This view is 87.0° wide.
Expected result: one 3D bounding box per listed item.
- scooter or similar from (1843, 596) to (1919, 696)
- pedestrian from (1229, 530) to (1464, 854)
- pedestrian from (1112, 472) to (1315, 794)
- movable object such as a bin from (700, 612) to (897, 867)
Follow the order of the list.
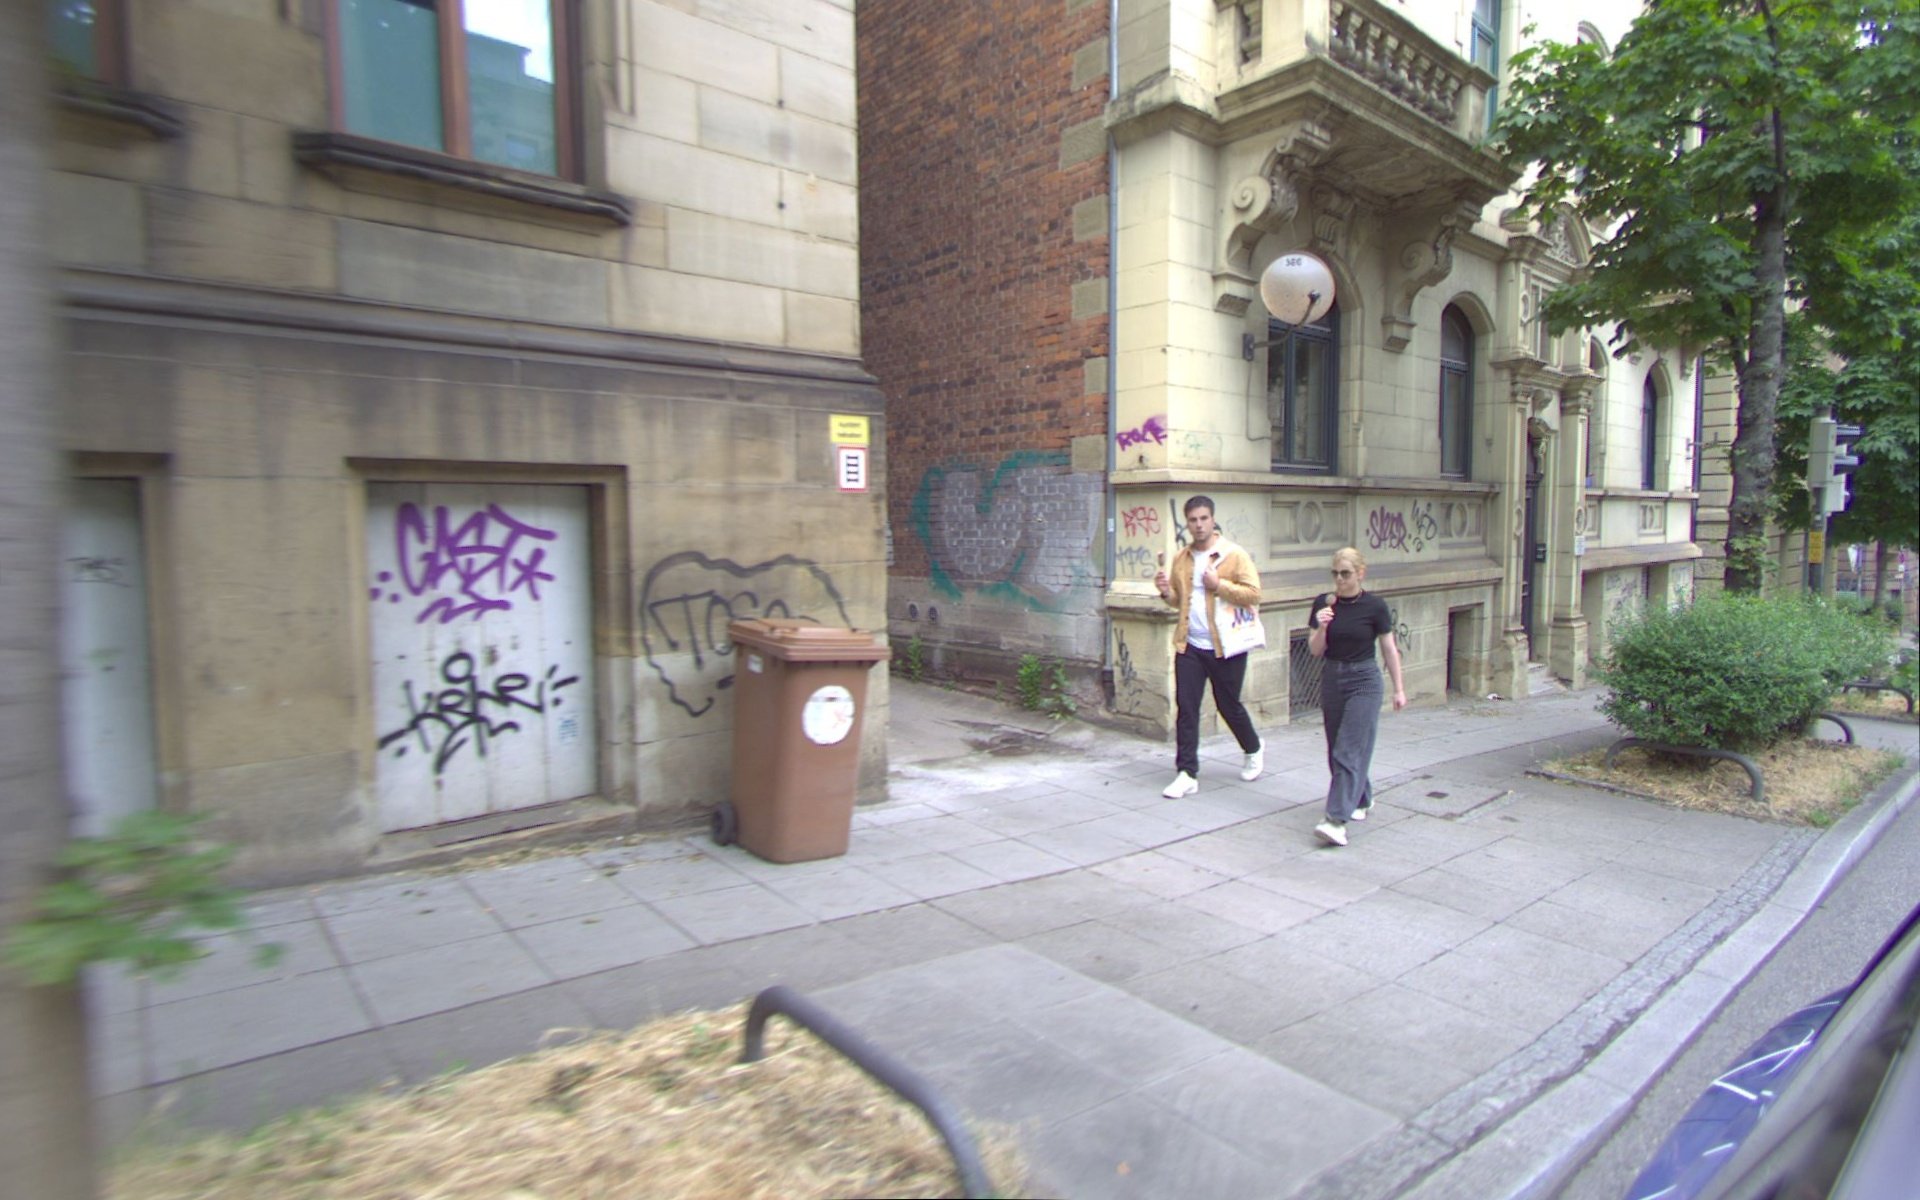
[{"bbox_3d":[13.296,0.631,14.531,1.360,1.319,0.663,0,4,-41],"label":"scooter or similar"},{"bbox_3d":[2.159,0.416,5.630,1.195,1.592,0.687,-3,6,-41],"label":"pedestrian"},{"bbox_3d":[1.608,0.148,6.401,1.102,1.851,0.687,-3,6,-41],"label":"pedestrian"},{"bbox_3d":[-0.760,0.603,4.729,0.572,1.028,0.672,3,2,-43],"label":"movable object such as a bin"}]
